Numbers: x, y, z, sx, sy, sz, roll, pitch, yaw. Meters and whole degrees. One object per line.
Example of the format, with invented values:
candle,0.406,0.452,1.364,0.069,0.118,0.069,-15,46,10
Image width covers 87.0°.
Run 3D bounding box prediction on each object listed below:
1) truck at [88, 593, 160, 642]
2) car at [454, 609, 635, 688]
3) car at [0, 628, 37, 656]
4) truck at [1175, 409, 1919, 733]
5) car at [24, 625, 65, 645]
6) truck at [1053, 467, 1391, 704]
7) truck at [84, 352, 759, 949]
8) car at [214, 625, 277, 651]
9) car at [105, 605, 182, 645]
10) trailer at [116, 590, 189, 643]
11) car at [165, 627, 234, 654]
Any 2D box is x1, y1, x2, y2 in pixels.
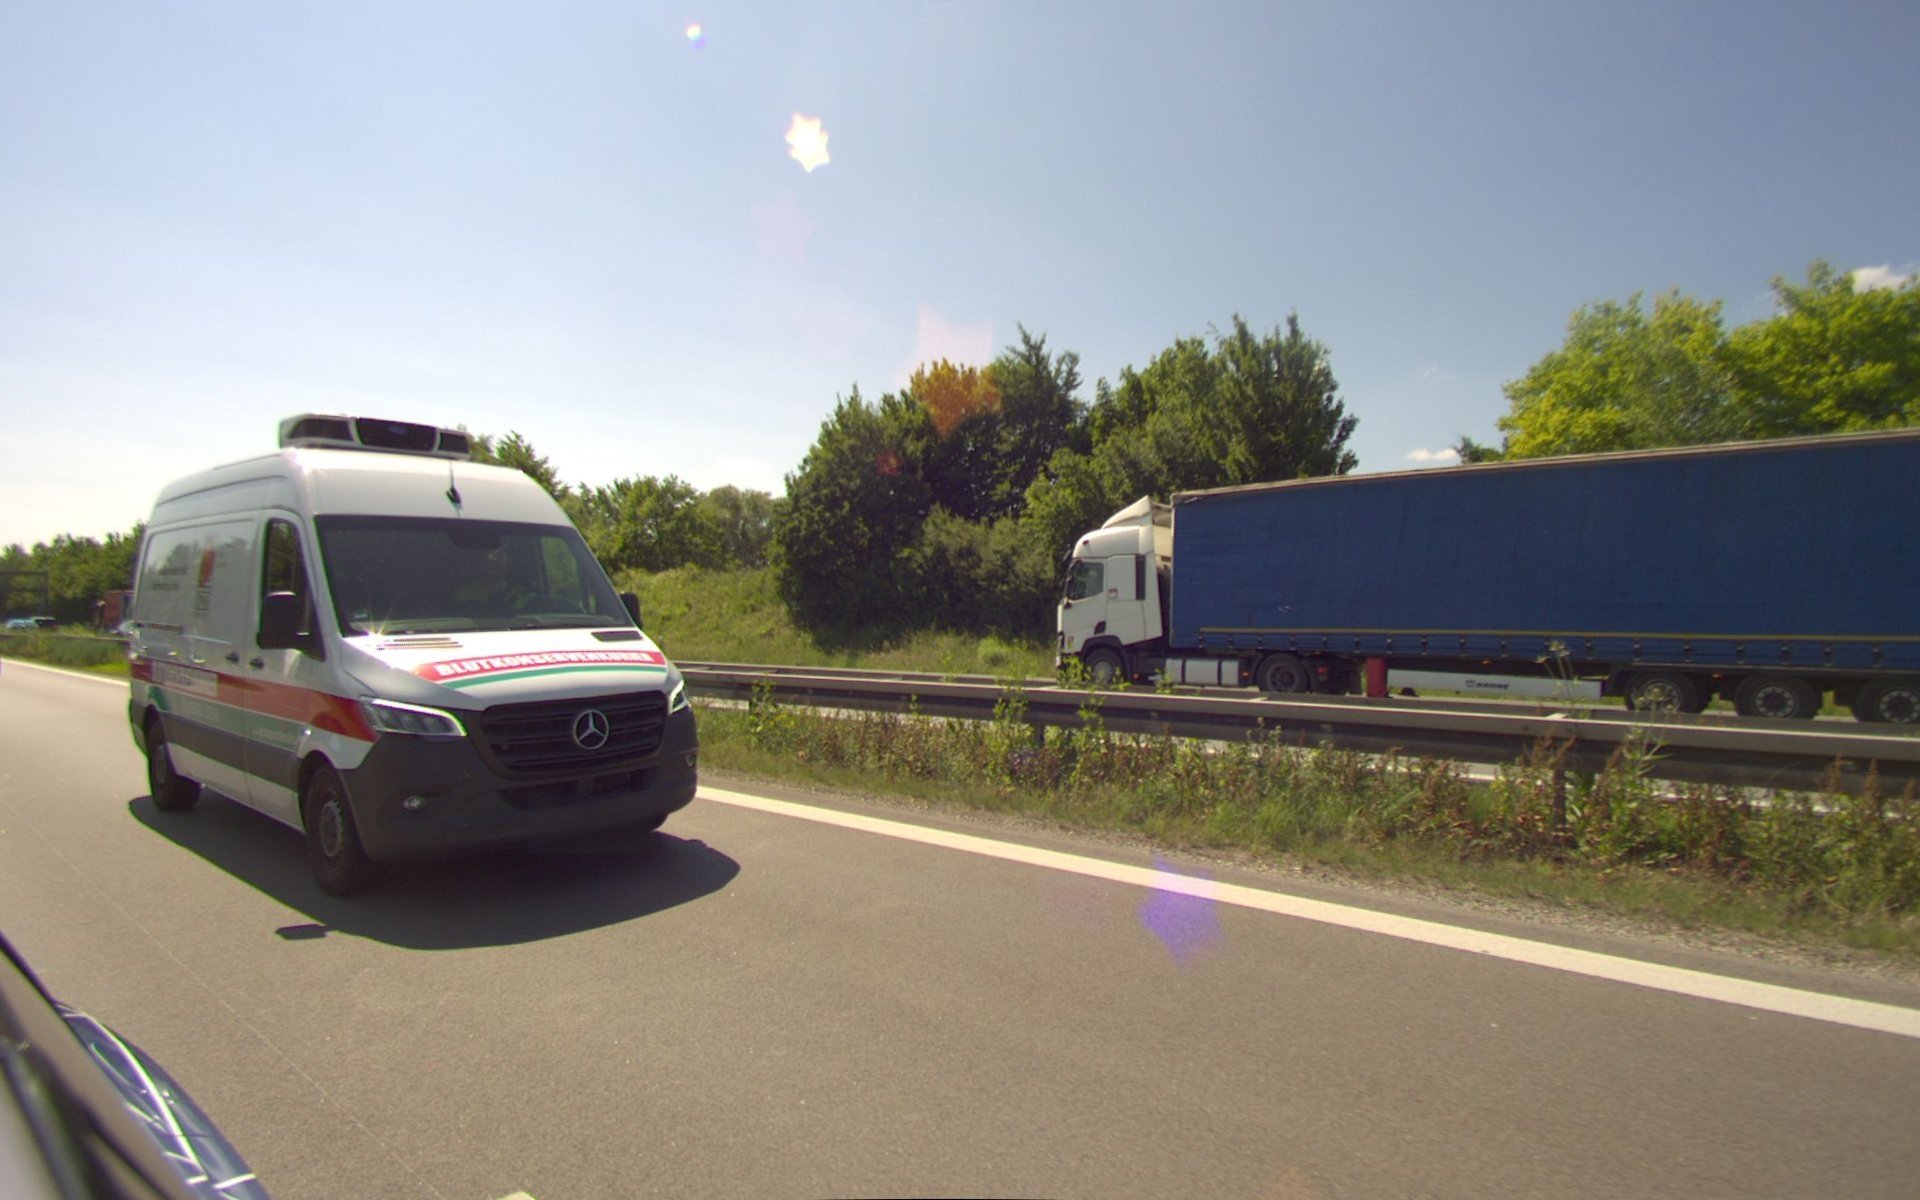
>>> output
truck,-68.122,1.473,82.384,9.911,3.798,2.651,-1,-3,40
car,-9.505,1.054,22.979,4.717,1.612,1.840,-1,-2,40
car,-65.173,2.876,69.801,3.997,1.918,1.798,-1,-2,41
truck,10.306,-0.260,16.087,13.949,4.110,2.645,-1,-3,41
car,-79.748,3.060,88.142,4.260,1.703,1.974,-1,-2,39
truck,5.145,-0.153,20.458,6.072,4.110,2.645,-1,-3,40
truck,-4.352,0.258,7.283,6.687,2.561,1.973,-1,0,41
car,-43.427,2.302,61.492,4.919,1.449,1.876,-1,-4,40
car,-40.542,1.228,50.232,4.892,1.880,1.974,-1,-2,39
trailer,-61.097,1.273,76.474,8.400,3.798,2.651,-1,-3,40
car,-40.870,2.144,54.345,4.759,1.350,1.876,-1,-4,40
